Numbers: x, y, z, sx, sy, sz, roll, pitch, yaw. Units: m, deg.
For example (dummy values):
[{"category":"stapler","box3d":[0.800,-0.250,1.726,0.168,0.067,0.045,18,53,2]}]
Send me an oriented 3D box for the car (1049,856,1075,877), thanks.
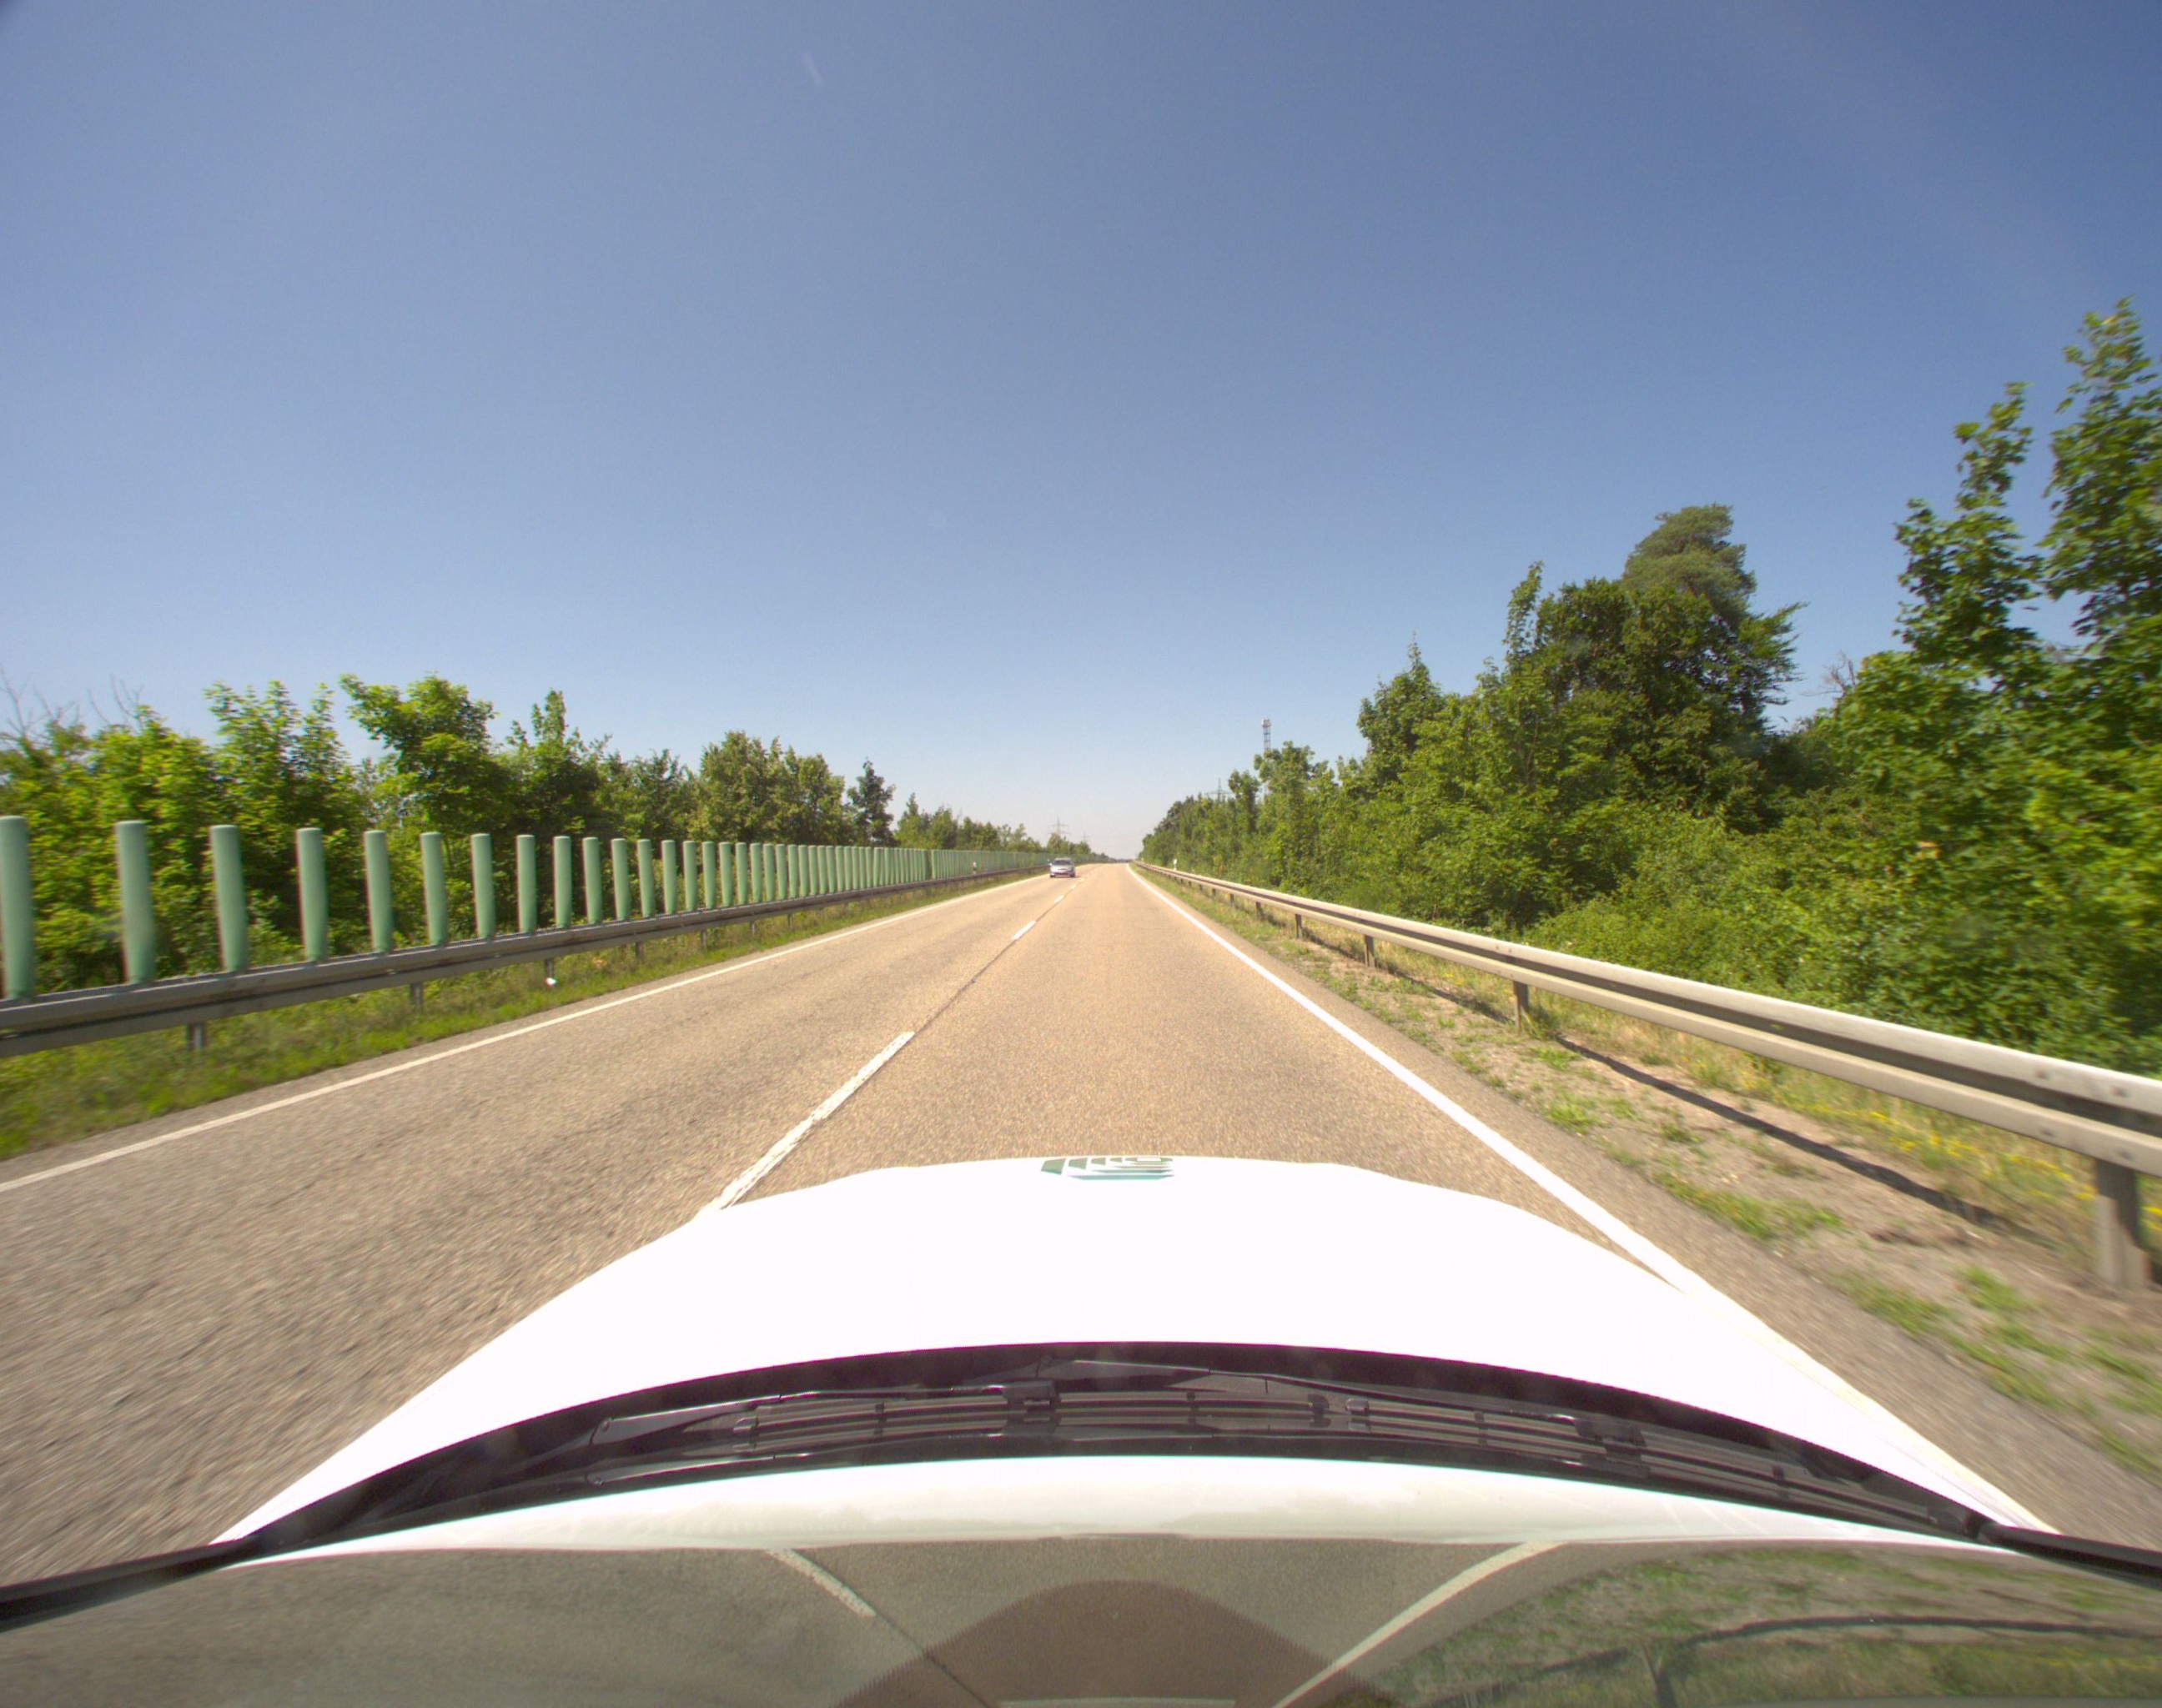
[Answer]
[{"category":"car","box3d":[-1.387,0.916,61.715,1.714,1.501,4.249,-1,0,2]}]
